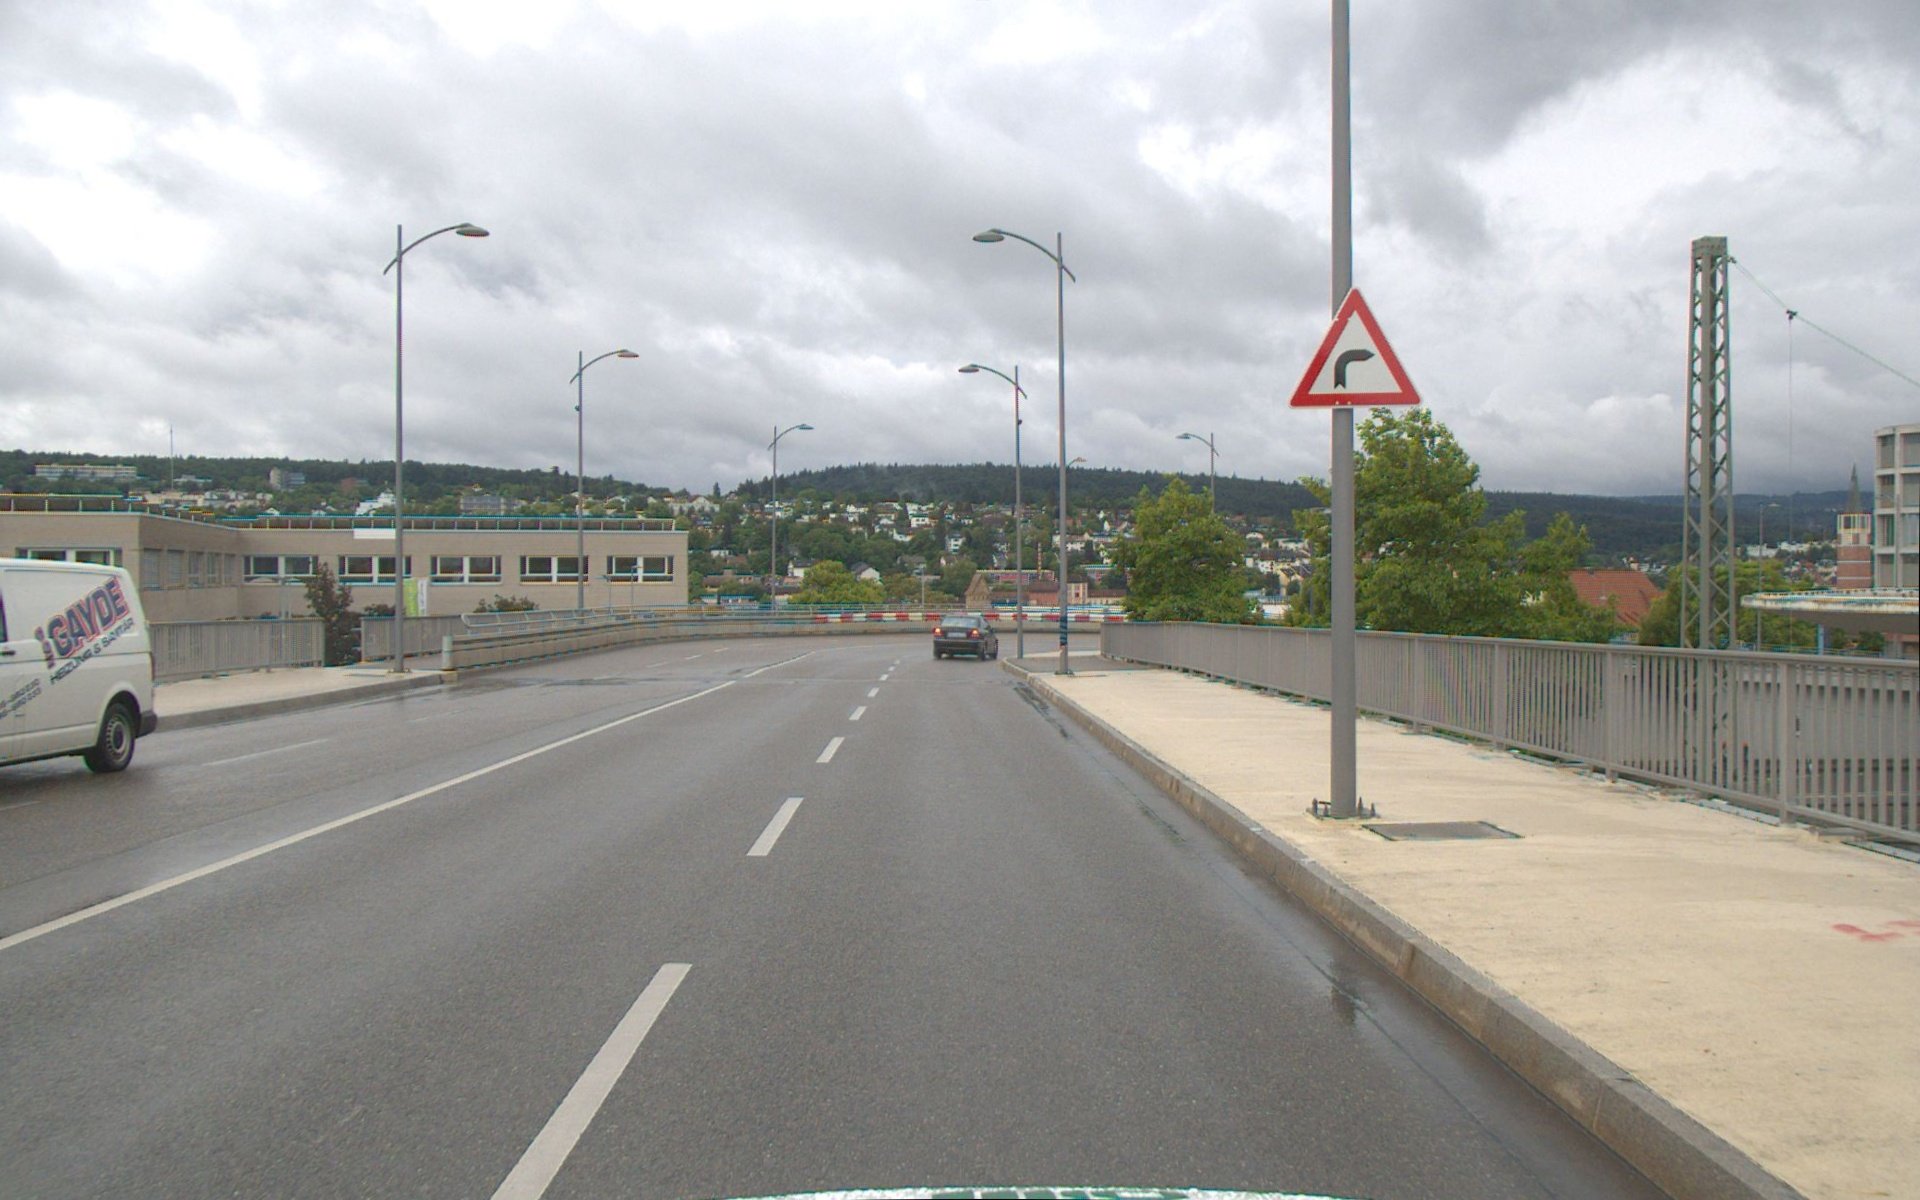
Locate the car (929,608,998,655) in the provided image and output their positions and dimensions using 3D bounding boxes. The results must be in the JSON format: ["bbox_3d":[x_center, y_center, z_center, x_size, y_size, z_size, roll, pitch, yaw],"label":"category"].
[{"bbox_3d":[0.146,0.999,53.532,1.669,1.444,3.728,1,0,9],"label":"car"}]

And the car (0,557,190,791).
[{"bbox_3d":[-8.539,0.620,13.842,1.848,1.854,4.957,-2,-1,0],"label":"car"}]
